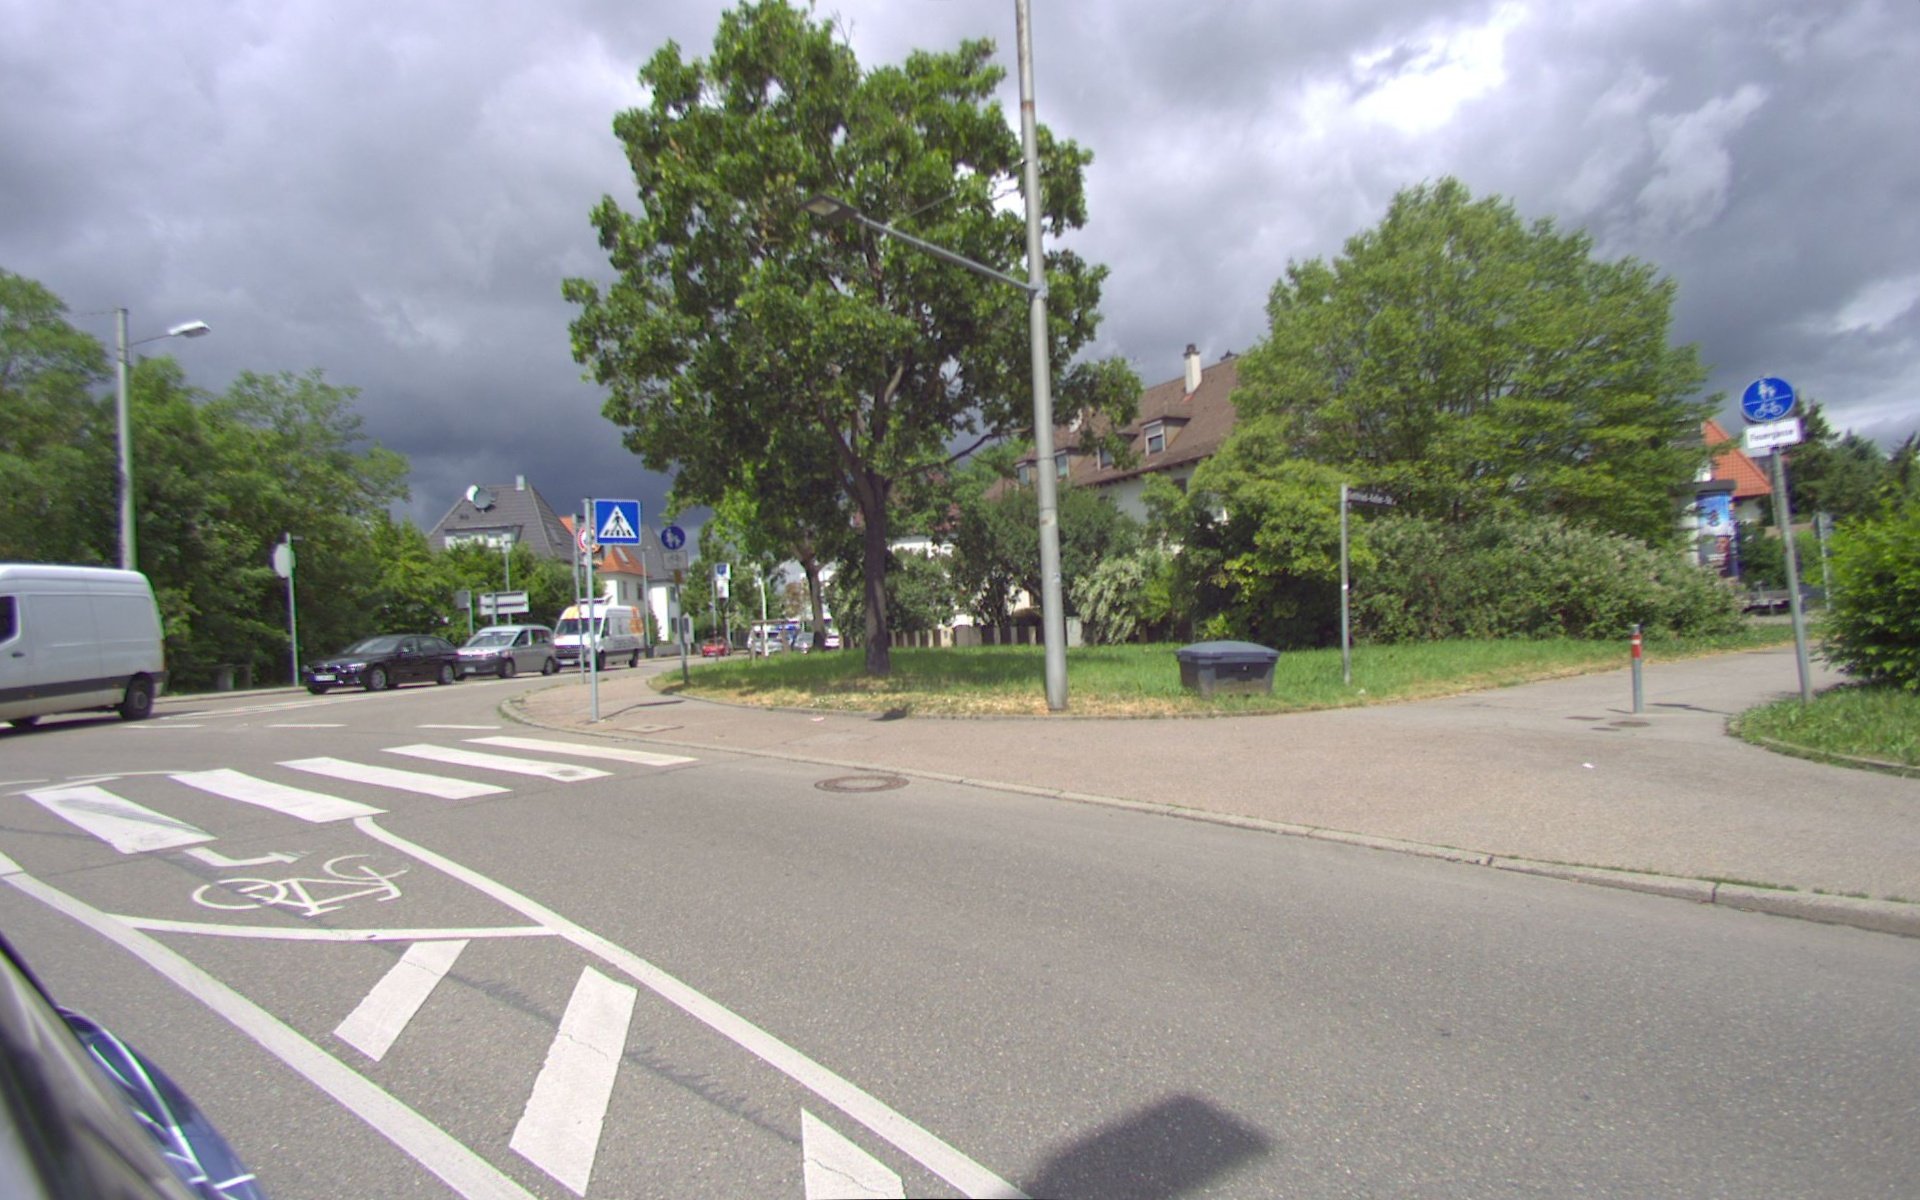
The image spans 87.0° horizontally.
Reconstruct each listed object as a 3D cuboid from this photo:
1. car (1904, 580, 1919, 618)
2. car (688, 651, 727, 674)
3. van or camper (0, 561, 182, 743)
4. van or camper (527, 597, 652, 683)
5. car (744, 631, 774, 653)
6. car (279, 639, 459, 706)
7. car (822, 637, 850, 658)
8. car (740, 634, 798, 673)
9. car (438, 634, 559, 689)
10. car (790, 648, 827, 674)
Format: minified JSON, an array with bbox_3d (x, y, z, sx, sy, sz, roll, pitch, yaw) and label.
[{"bbox_3d":[38.866,-0.096,39.811,3.936,1.431,1.888,-2,0,-38],"label":"car"},{"bbox_3d":[-19.705,4.878,79.120,1.972,1.600,4.401,-3,-3,-1],"label":"car"},{"bbox_3d":[-14.879,0.818,15.382,2.159,2.586,5.937,-1,-2,-8],"label":"van or camper"},{"bbox_3d":[-14.873,1.807,41.276,2.239,3.018,8.328,-4,-5,-2],"label":"van or camper"},{"bbox_3d":[-19.654,4.104,99.195,1.972,1.943,4.401,-3,-3,-1],"label":"car"},{"bbox_3d":[-15.191,1.811,26.312,1.974,1.485,4.223,-4,-3,4],"label":"car"},{"bbox_3d":[-11.230,4.290,91.831,1.972,1.600,4.401,-3,-1,-1],"label":"car"},{"bbox_3d":[-10.165,2.822,54.164,2.201,1.821,4.401,-3,-1,-1],"label":"car"},{"bbox_3d":[-15.111,1.999,33.430,1.972,1.600,4.401,-3,-3,-1],"label":"car"},{"bbox_3d":[-10.870,4.381,73.058,1.972,1.600,4.401,-3,-1,-1],"label":"car"}]
